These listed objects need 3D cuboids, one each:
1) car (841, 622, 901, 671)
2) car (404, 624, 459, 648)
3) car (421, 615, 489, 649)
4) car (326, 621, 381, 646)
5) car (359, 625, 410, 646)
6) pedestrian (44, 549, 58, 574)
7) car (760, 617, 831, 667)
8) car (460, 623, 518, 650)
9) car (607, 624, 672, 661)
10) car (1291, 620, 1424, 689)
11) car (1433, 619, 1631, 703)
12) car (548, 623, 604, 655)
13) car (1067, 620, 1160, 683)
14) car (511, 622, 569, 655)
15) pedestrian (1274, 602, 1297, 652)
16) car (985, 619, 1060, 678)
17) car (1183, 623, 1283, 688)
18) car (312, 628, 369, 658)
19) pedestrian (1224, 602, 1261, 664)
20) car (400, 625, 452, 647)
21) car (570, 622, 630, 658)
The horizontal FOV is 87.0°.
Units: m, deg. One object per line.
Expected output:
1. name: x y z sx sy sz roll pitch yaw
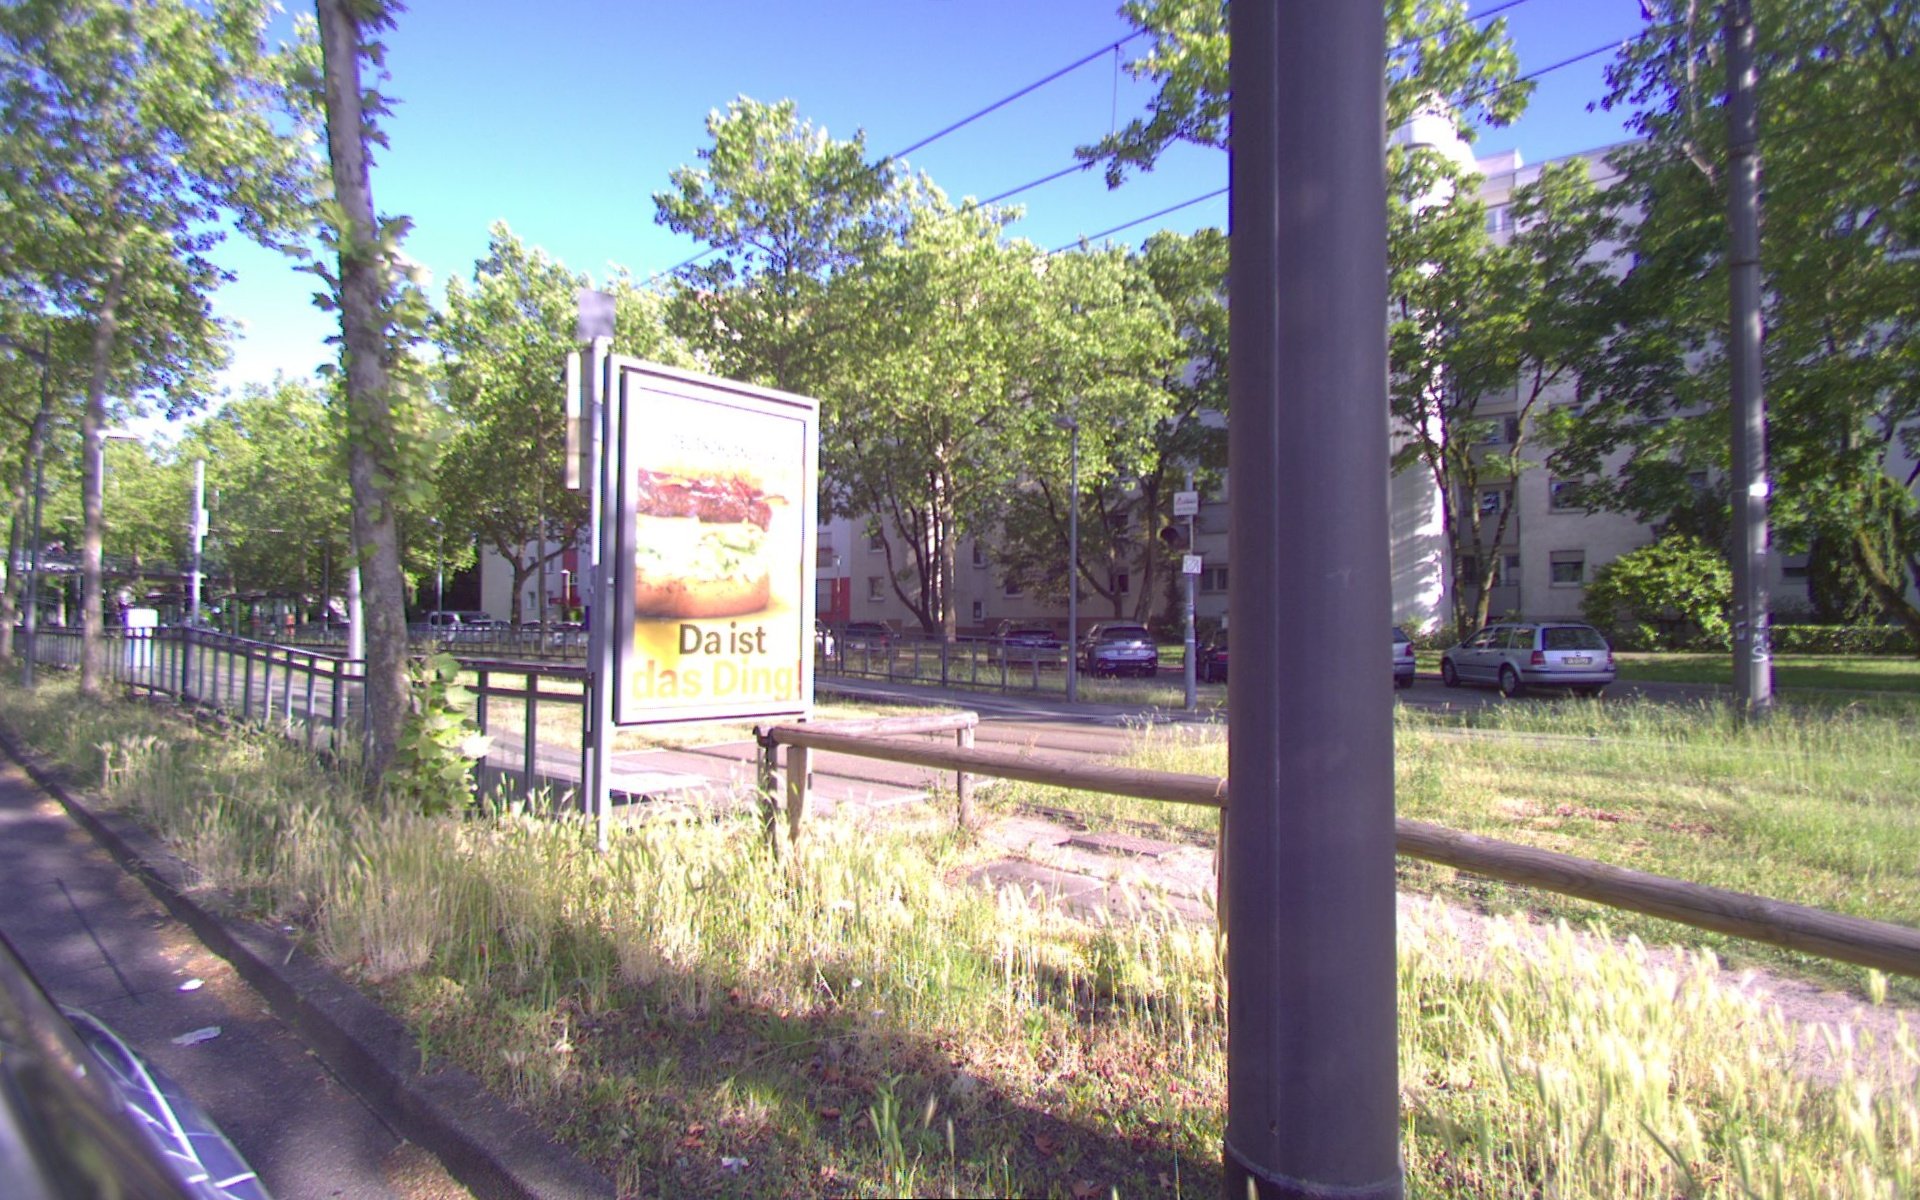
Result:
1. car: -2.999 1.551 34.659 1.538 1.439 3.761 -1 0 3
2. car: -30.936 2.096 59.355 1.459 1.354 3.488 0 -1 -1
3. car: -28.422 1.789 57.071 1.843 1.826 4.047 0 -1 0
4. car: -40.608 2.236 67.853 1.578 1.582 3.830 0 -1 -3
5. car: -37.437 2.310 65.911 1.459 1.330 3.488 0 -1 -1
6. pedestrian: -69.800 -2.936 77.694 0.511 1.898 0.728 -1 0 40
7. car: -5.989 1.495 37.209 1.791 1.607 3.997 -1 0 3
8. car: -25.821 2.005 55.557 1.605 1.414 3.488 0 -1 -1
9. car: -14.023 1.851 44.475 1.470 1.425 3.880 -1 0 3
10. car: 9.155 1.212 23.605 1.553 1.431 3.620 -1 -1 -1
11. car: 11.521 1.166 20.736 1.685 1.454 3.978 -1 0 -2
12. car: -18.717 1.882 49.462 1.459 1.339 3.488 -2 0 -1
13. car: 4.110 1.343 27.708 1.650 1.469 4.004 -1 0 -4
14. car: -21.124 1.912 51.015 1.539 1.436 3.489 -3 0 -2
15. pedestrian: 11.778 0.976 36.627 0.634 1.770 0.516 -1 -2 39
16. car: 1.760 1.357 29.700 1.669 1.499 4.003 -1 0 -4
17. car: 6.750 1.328 25.343 1.572 1.360 3.922 -1 0 3
18. car: -34.653 2.372 56.566 1.785 1.534 4.333 1 -2 -45
19. pedestrian: 8.197 0.954 29.335 0.755 1.770 0.752 -2 -2 41
20. car: -33.027 2.224 62.692 1.459 1.311 3.488 0 -1 -1
21. car: -16.660 1.814 46.985 1.445 1.519 3.393 -1 0 3
